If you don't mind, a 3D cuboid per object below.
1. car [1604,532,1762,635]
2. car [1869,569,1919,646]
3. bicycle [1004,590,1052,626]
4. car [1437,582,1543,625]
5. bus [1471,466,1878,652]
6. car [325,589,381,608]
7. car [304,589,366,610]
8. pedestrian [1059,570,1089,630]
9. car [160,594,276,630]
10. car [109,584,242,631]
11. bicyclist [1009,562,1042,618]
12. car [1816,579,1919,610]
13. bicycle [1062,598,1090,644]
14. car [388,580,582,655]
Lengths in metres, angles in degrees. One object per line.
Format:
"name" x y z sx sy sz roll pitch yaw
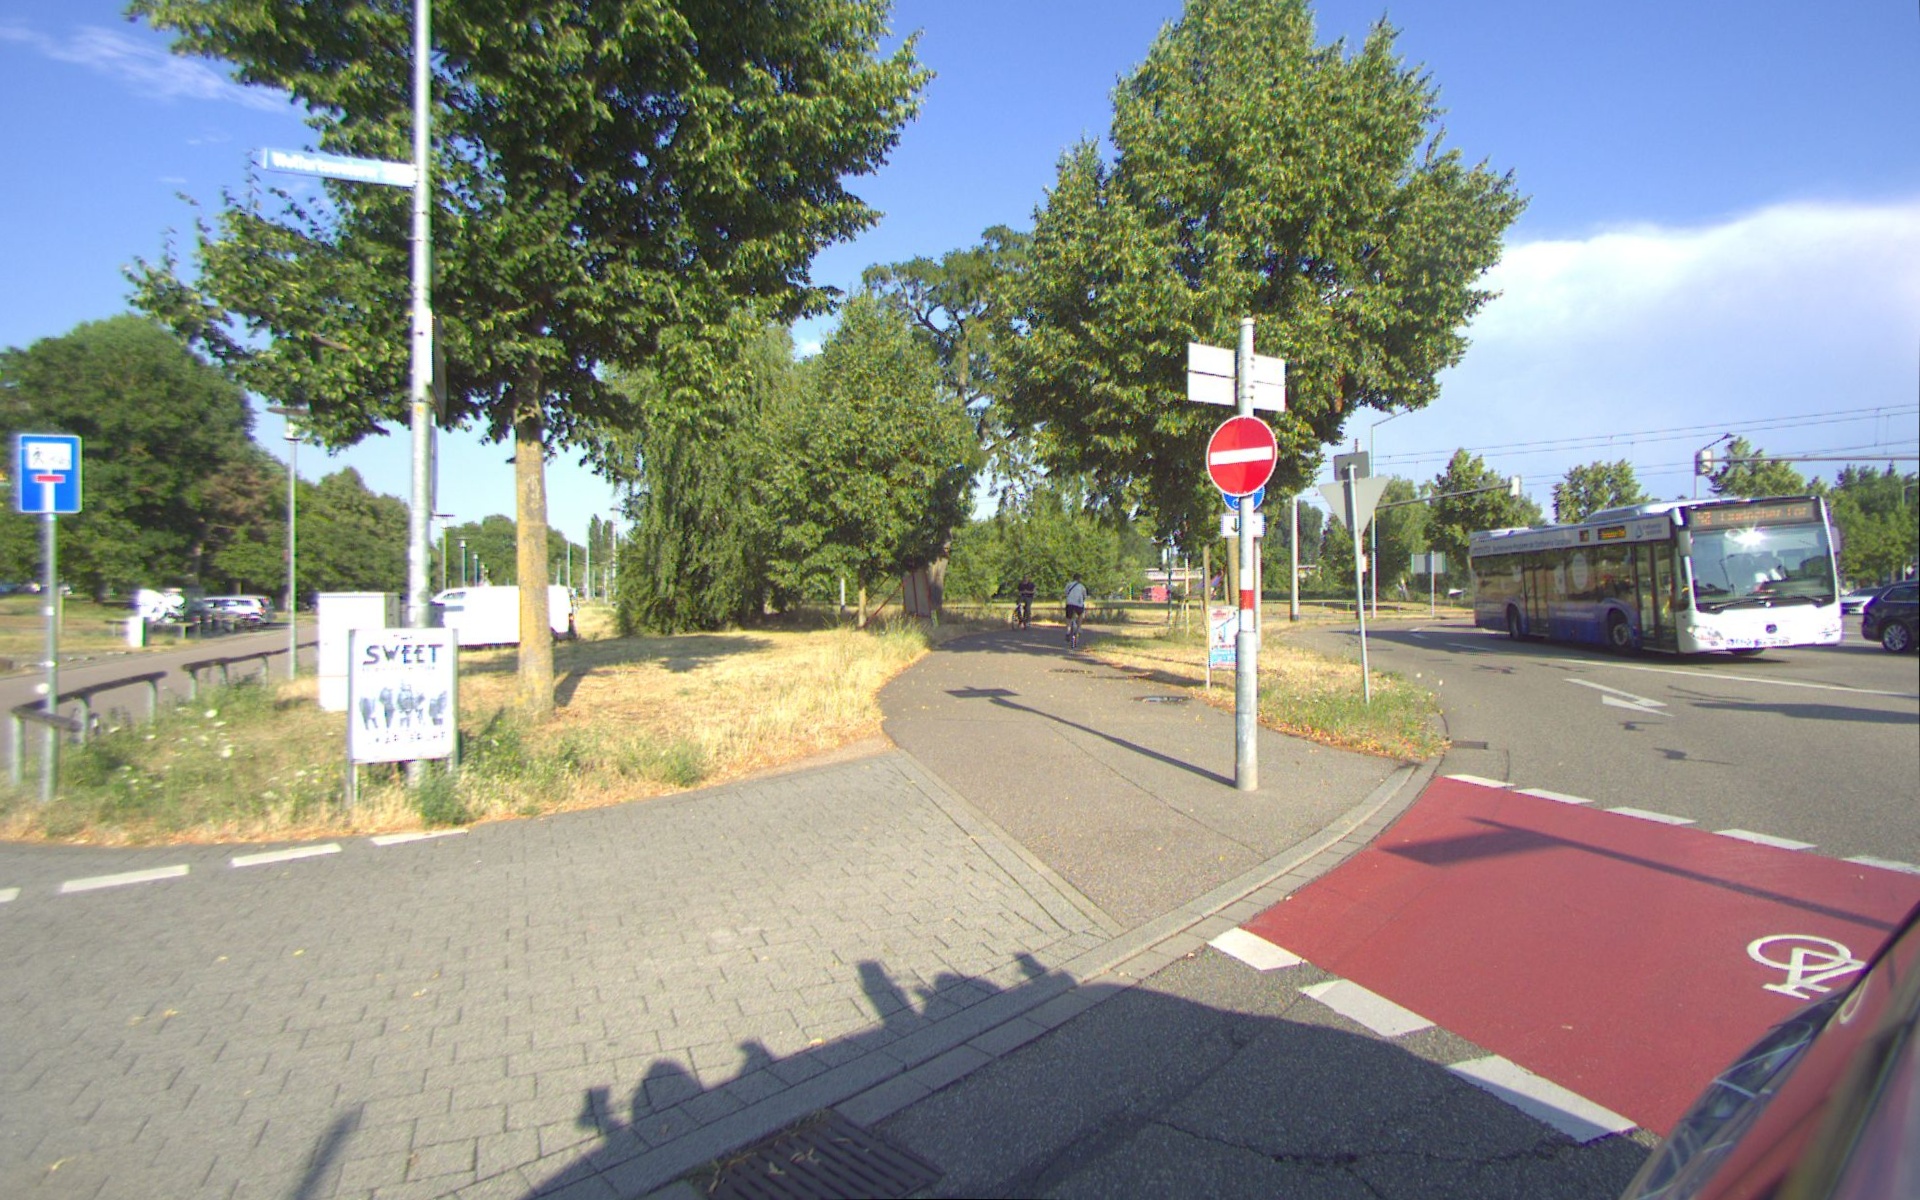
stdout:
"car" 20.441 -0.375 28.936 1.973 2.627 5.455 -1 -1 17
"car" 18.874 0.140 17.768 1.776 1.455 4.389 -1 0 -2
"bicycle" 2.248 0.253 33.381 0.636 1.137 2.100 0 0 33
"car" 20.098 0.109 38.374 3.924 1.542 2.000 -1 1 -35
"bus" 15.065 -0.750 23.108 2.623 3.100 12.143 -1 1 10
"car" -51.567 -0.120 86.092 3.918 1.549 2.003 -1 1 -26
"car" -48.834 -0.060 79.135 3.918 1.549 2.003 -1 1 -26
"pedestrian" 2.757 -0.014 24.427 0.643 1.409 0.765 1 1 12
"car" -33.405 0.503 45.705 3.918 1.549 2.003 -1 1 -26
"car" -31.646 0.282 40.954 3.918 1.816 1.896 -1 1 -26
"bicyclist" 2.153 -0.327 33.249 0.723 1.823 0.927 0 0 35
"car" 42.299 -0.272 46.958 4.494 1.401 2.099 -1 0 -22
"bicycle" 2.825 0.488 24.607 0.526 1.068 1.907 0 1 11
"car" -14.349 0.467 30.844 5.111 2.039 2.274 -2 1 -24
